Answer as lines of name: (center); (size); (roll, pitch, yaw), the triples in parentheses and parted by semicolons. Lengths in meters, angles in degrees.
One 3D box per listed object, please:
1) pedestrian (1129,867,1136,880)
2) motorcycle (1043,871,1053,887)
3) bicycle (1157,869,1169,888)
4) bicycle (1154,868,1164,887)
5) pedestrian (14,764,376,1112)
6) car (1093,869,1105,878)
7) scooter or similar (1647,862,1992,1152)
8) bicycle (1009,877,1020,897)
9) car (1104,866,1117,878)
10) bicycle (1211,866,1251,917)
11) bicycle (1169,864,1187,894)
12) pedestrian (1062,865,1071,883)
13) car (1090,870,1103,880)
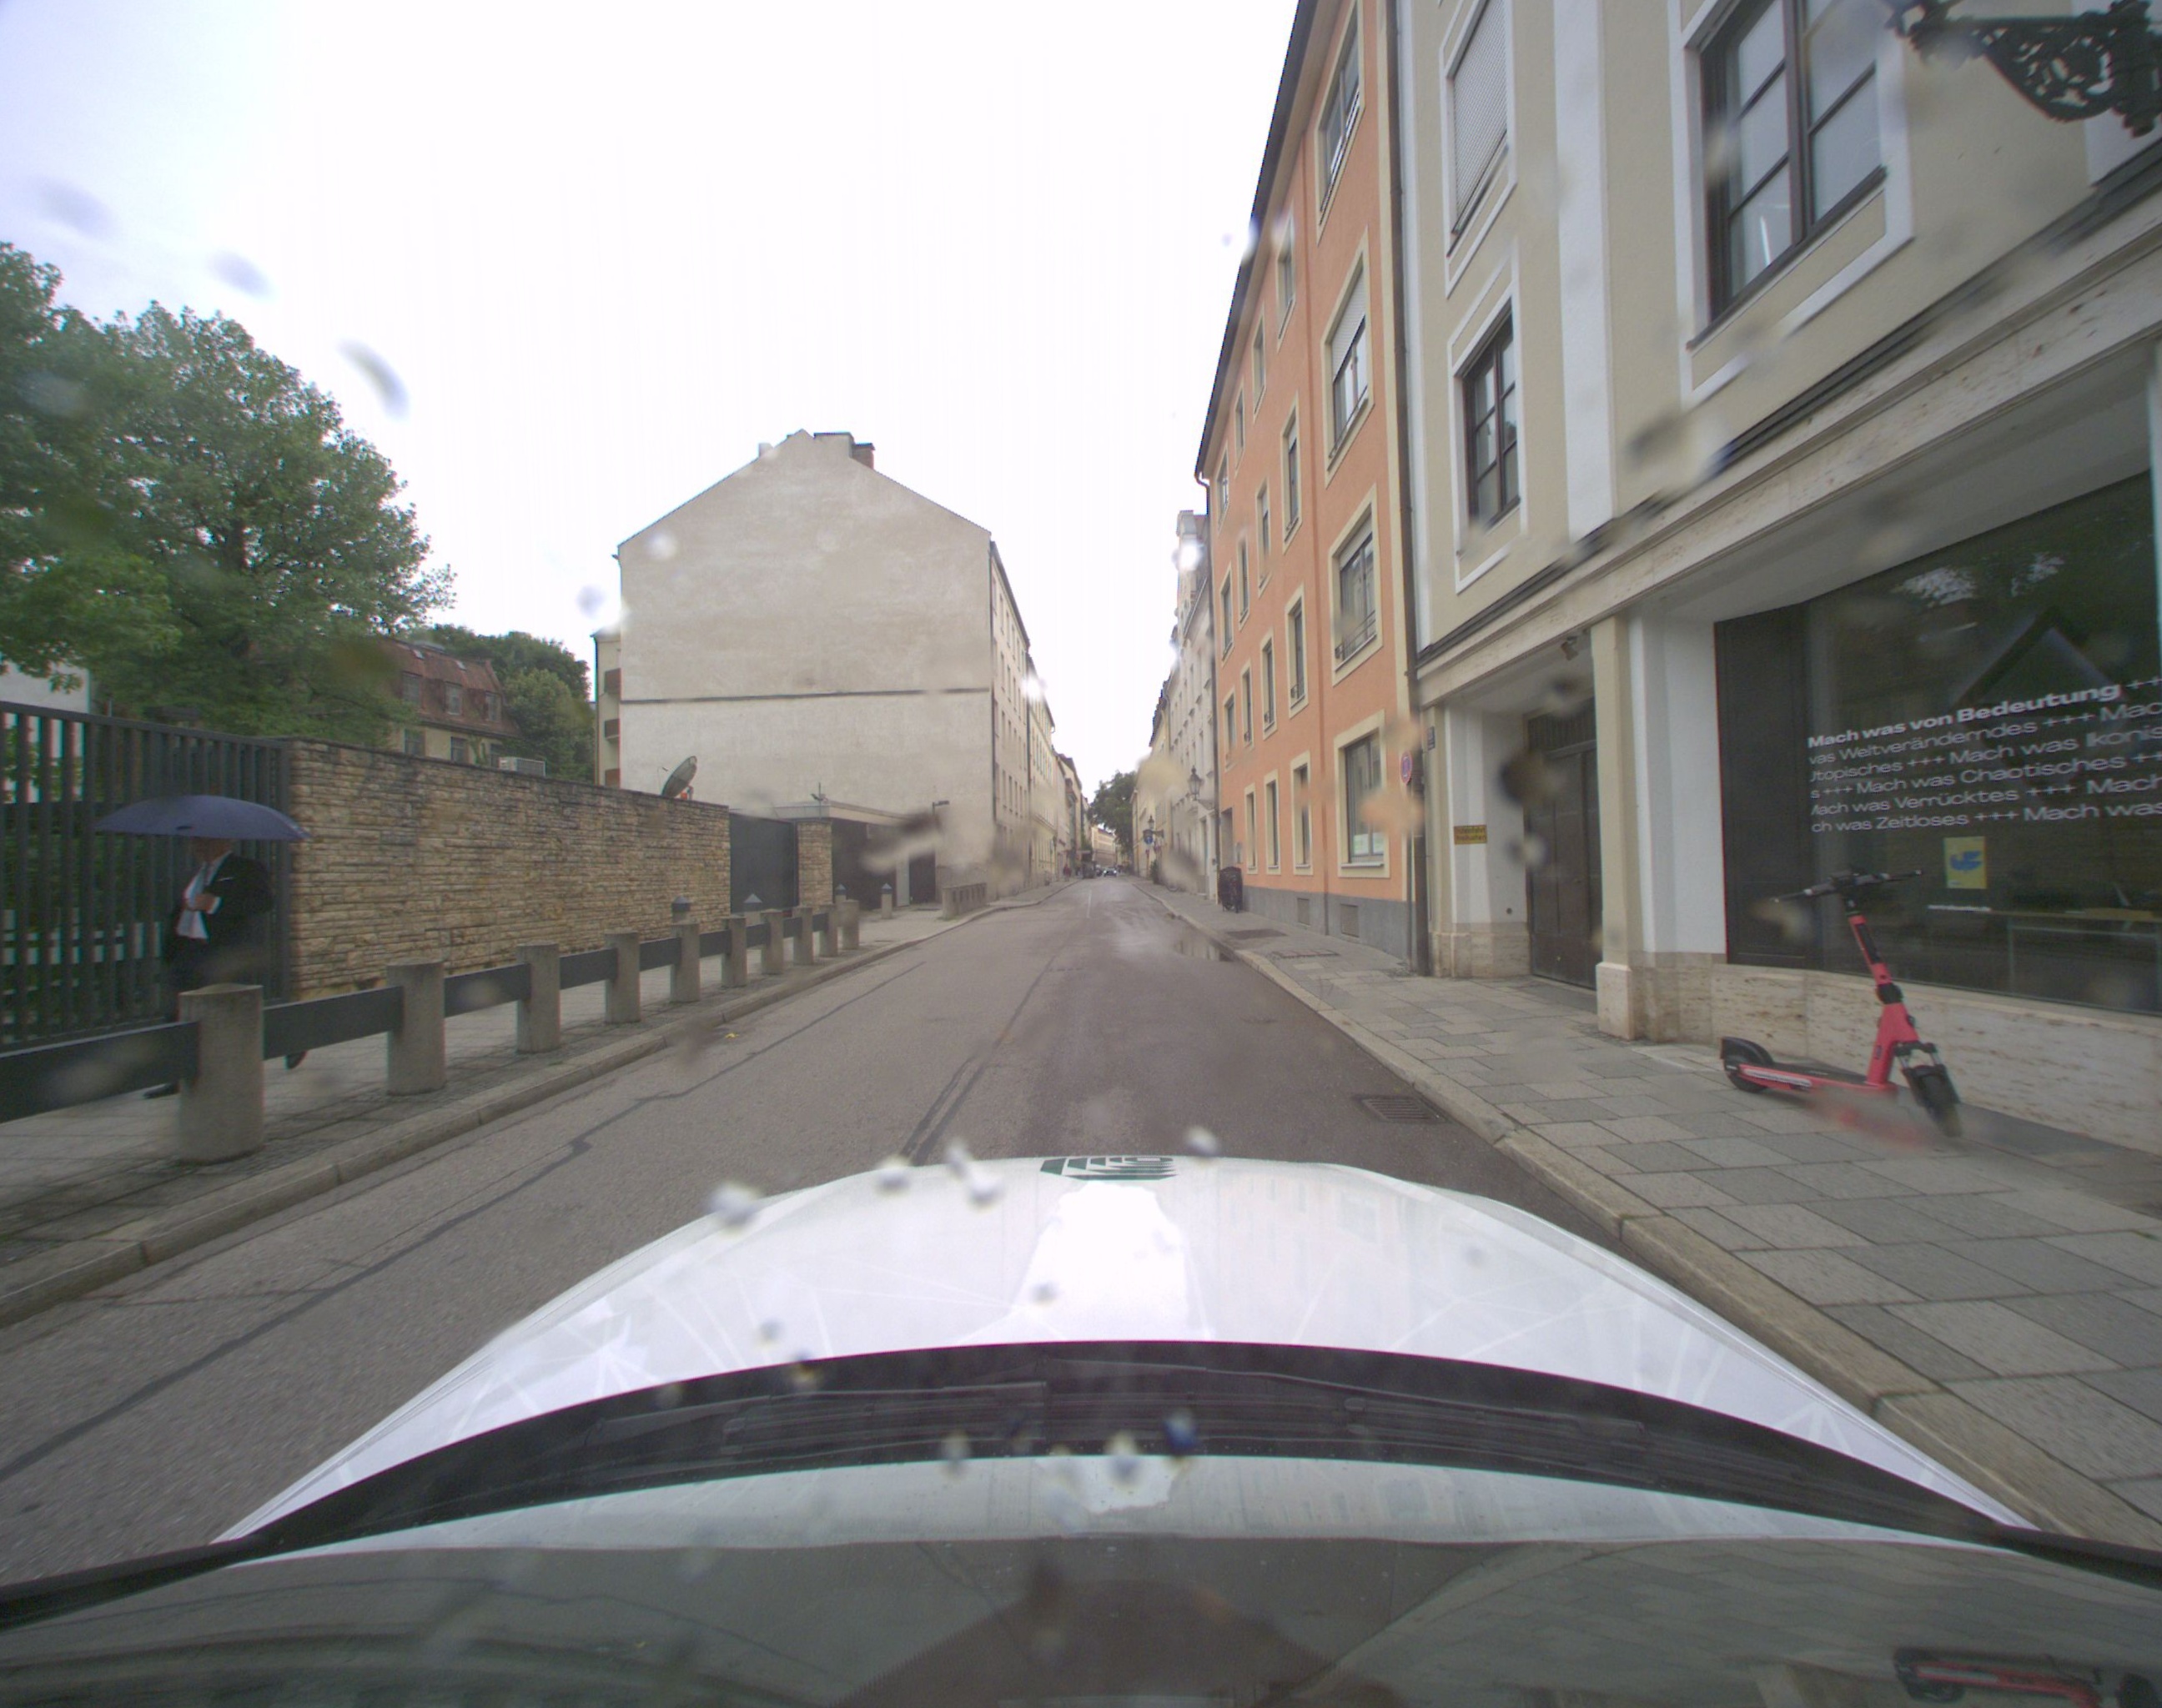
pedestrian: (7.189, 2.718, 113.281); (0.877, 1.802, 1.047); (0, -1, 2)
motorcycle: (-2.360, 1.784, 58.721); (0.599, 1.174, 1.709); (0, -1, 2)
bicycle: (5.074, 1.500, 50.483); (0.563, 1.137, 1.989); (-3, -1, 3)
bicycle: (5.039, 1.519, 52.704); (0.563, 1.137, 1.685); (-3, -1, 3)
pedestrian: (-5.912, 0.520, 5.540); (1.217, 2.104, 1.118); (-1, -1, 4)
car: (3.134, 3.427, 141.996); (1.771, 1.467, 3.546); (0, -1, 5)
scooter or similar: (3.771, 0.685, 4.292); (0.465, 1.259, 1.271); (-3, 0, -12)
bicycle: (-3.307, 1.619, 40.525); (0.318, 0.944, 1.575); (2, -1, 4)
car: (4.197, 2.606, 117.634); (1.806, 1.594, 4.000); (-1, -1, 1)
bicycle: (4.106, 0.997, 22.463); (0.676, 1.240, 2.384); (-6, -1, 4)
bicycle: (4.678, 1.201, 39.403); (0.710, 1.396, 2.124); (-4, -1, 4)
pedestrian: (-1.430, 1.987, 80.095); (0.763, 1.708, 0.785); (-1, -1, -1)
car: (2.307, 3.139, 121.982); (1.771, 1.467, 3.667); (0, -1, 5)
